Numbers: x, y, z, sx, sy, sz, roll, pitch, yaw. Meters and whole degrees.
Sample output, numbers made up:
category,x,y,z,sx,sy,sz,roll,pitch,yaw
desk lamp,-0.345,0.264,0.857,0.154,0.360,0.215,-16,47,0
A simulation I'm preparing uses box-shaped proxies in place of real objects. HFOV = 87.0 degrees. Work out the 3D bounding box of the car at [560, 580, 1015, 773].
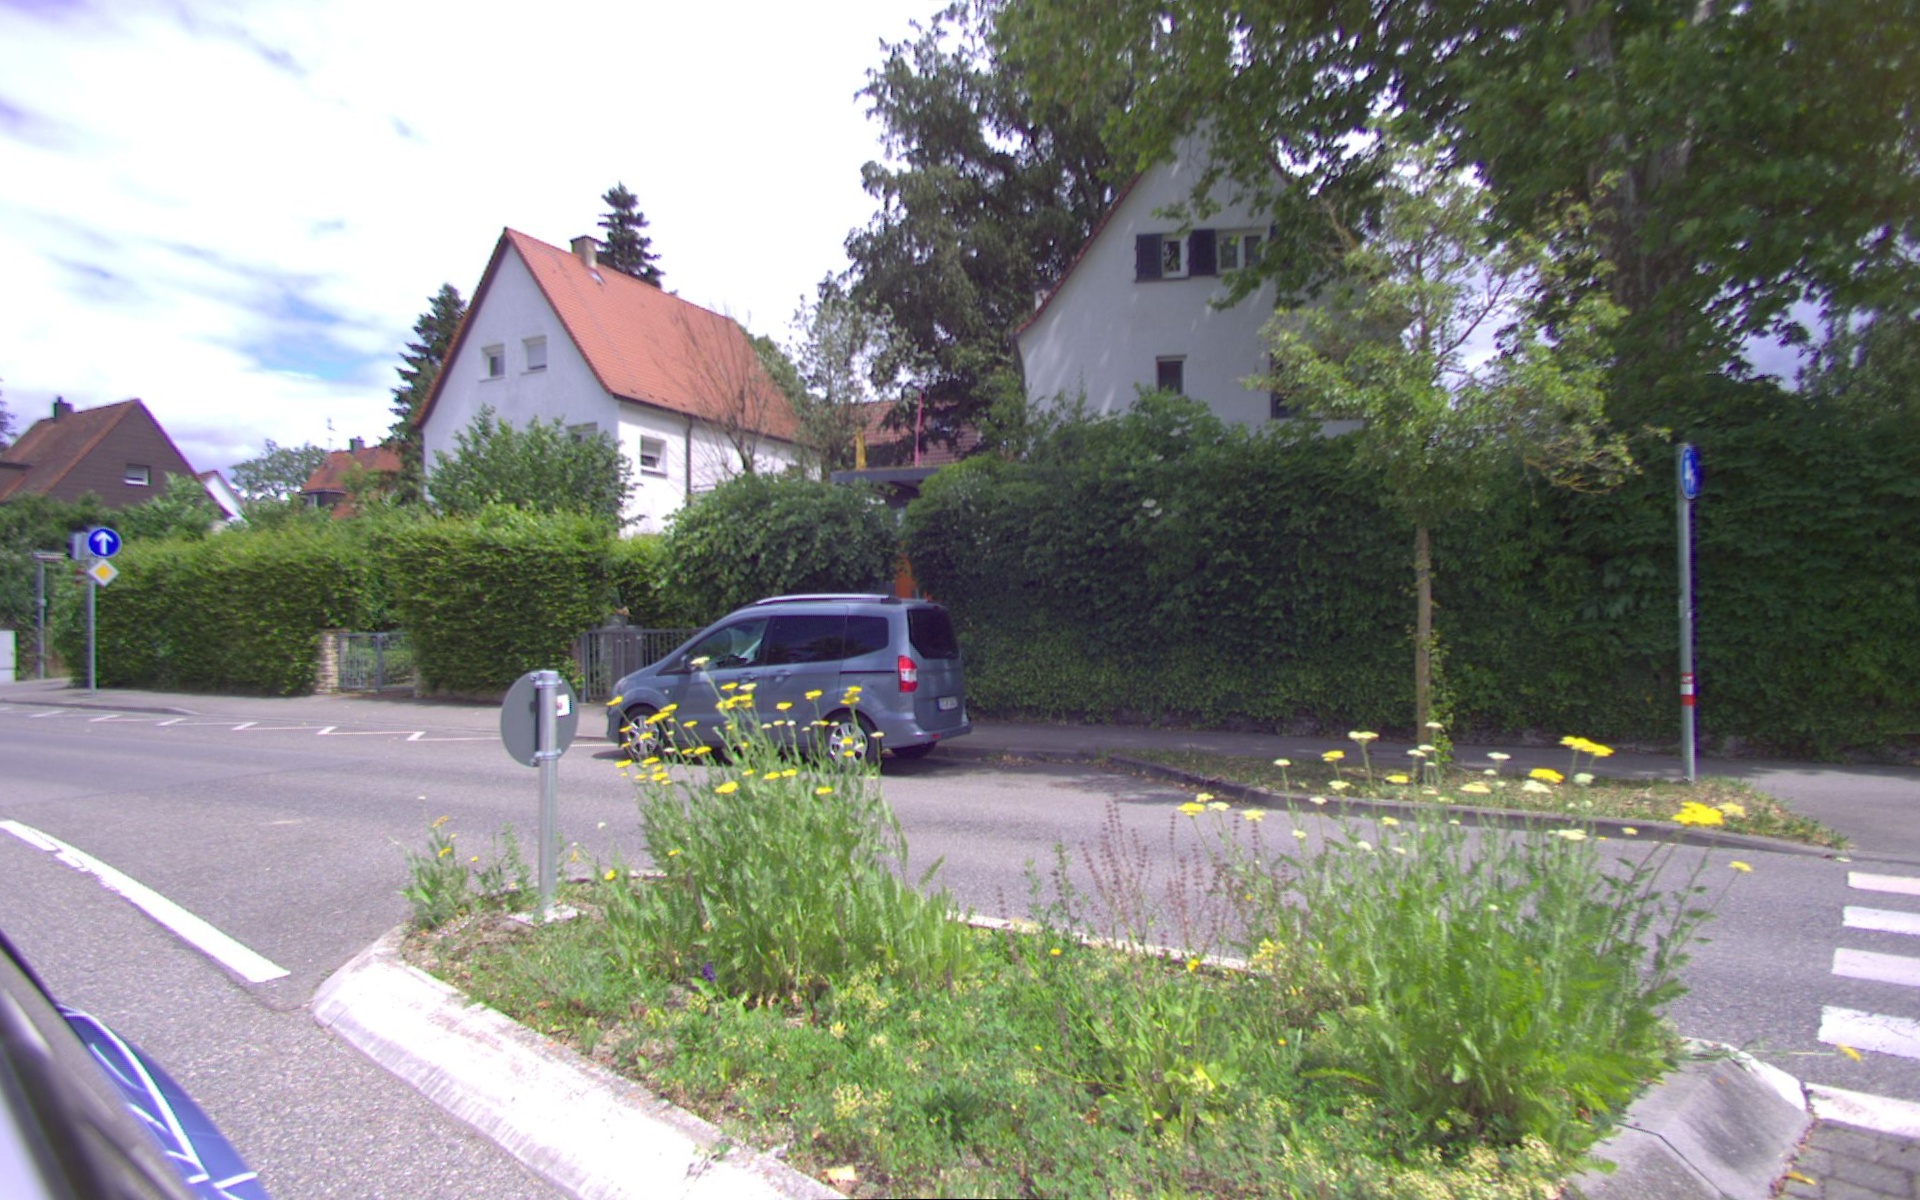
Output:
category,x,y,z,sx,sy,sz,roll,pitch,yaw
car,-1.836,0.762,11.099,4.430,1.786,2.125,-2,0,20
